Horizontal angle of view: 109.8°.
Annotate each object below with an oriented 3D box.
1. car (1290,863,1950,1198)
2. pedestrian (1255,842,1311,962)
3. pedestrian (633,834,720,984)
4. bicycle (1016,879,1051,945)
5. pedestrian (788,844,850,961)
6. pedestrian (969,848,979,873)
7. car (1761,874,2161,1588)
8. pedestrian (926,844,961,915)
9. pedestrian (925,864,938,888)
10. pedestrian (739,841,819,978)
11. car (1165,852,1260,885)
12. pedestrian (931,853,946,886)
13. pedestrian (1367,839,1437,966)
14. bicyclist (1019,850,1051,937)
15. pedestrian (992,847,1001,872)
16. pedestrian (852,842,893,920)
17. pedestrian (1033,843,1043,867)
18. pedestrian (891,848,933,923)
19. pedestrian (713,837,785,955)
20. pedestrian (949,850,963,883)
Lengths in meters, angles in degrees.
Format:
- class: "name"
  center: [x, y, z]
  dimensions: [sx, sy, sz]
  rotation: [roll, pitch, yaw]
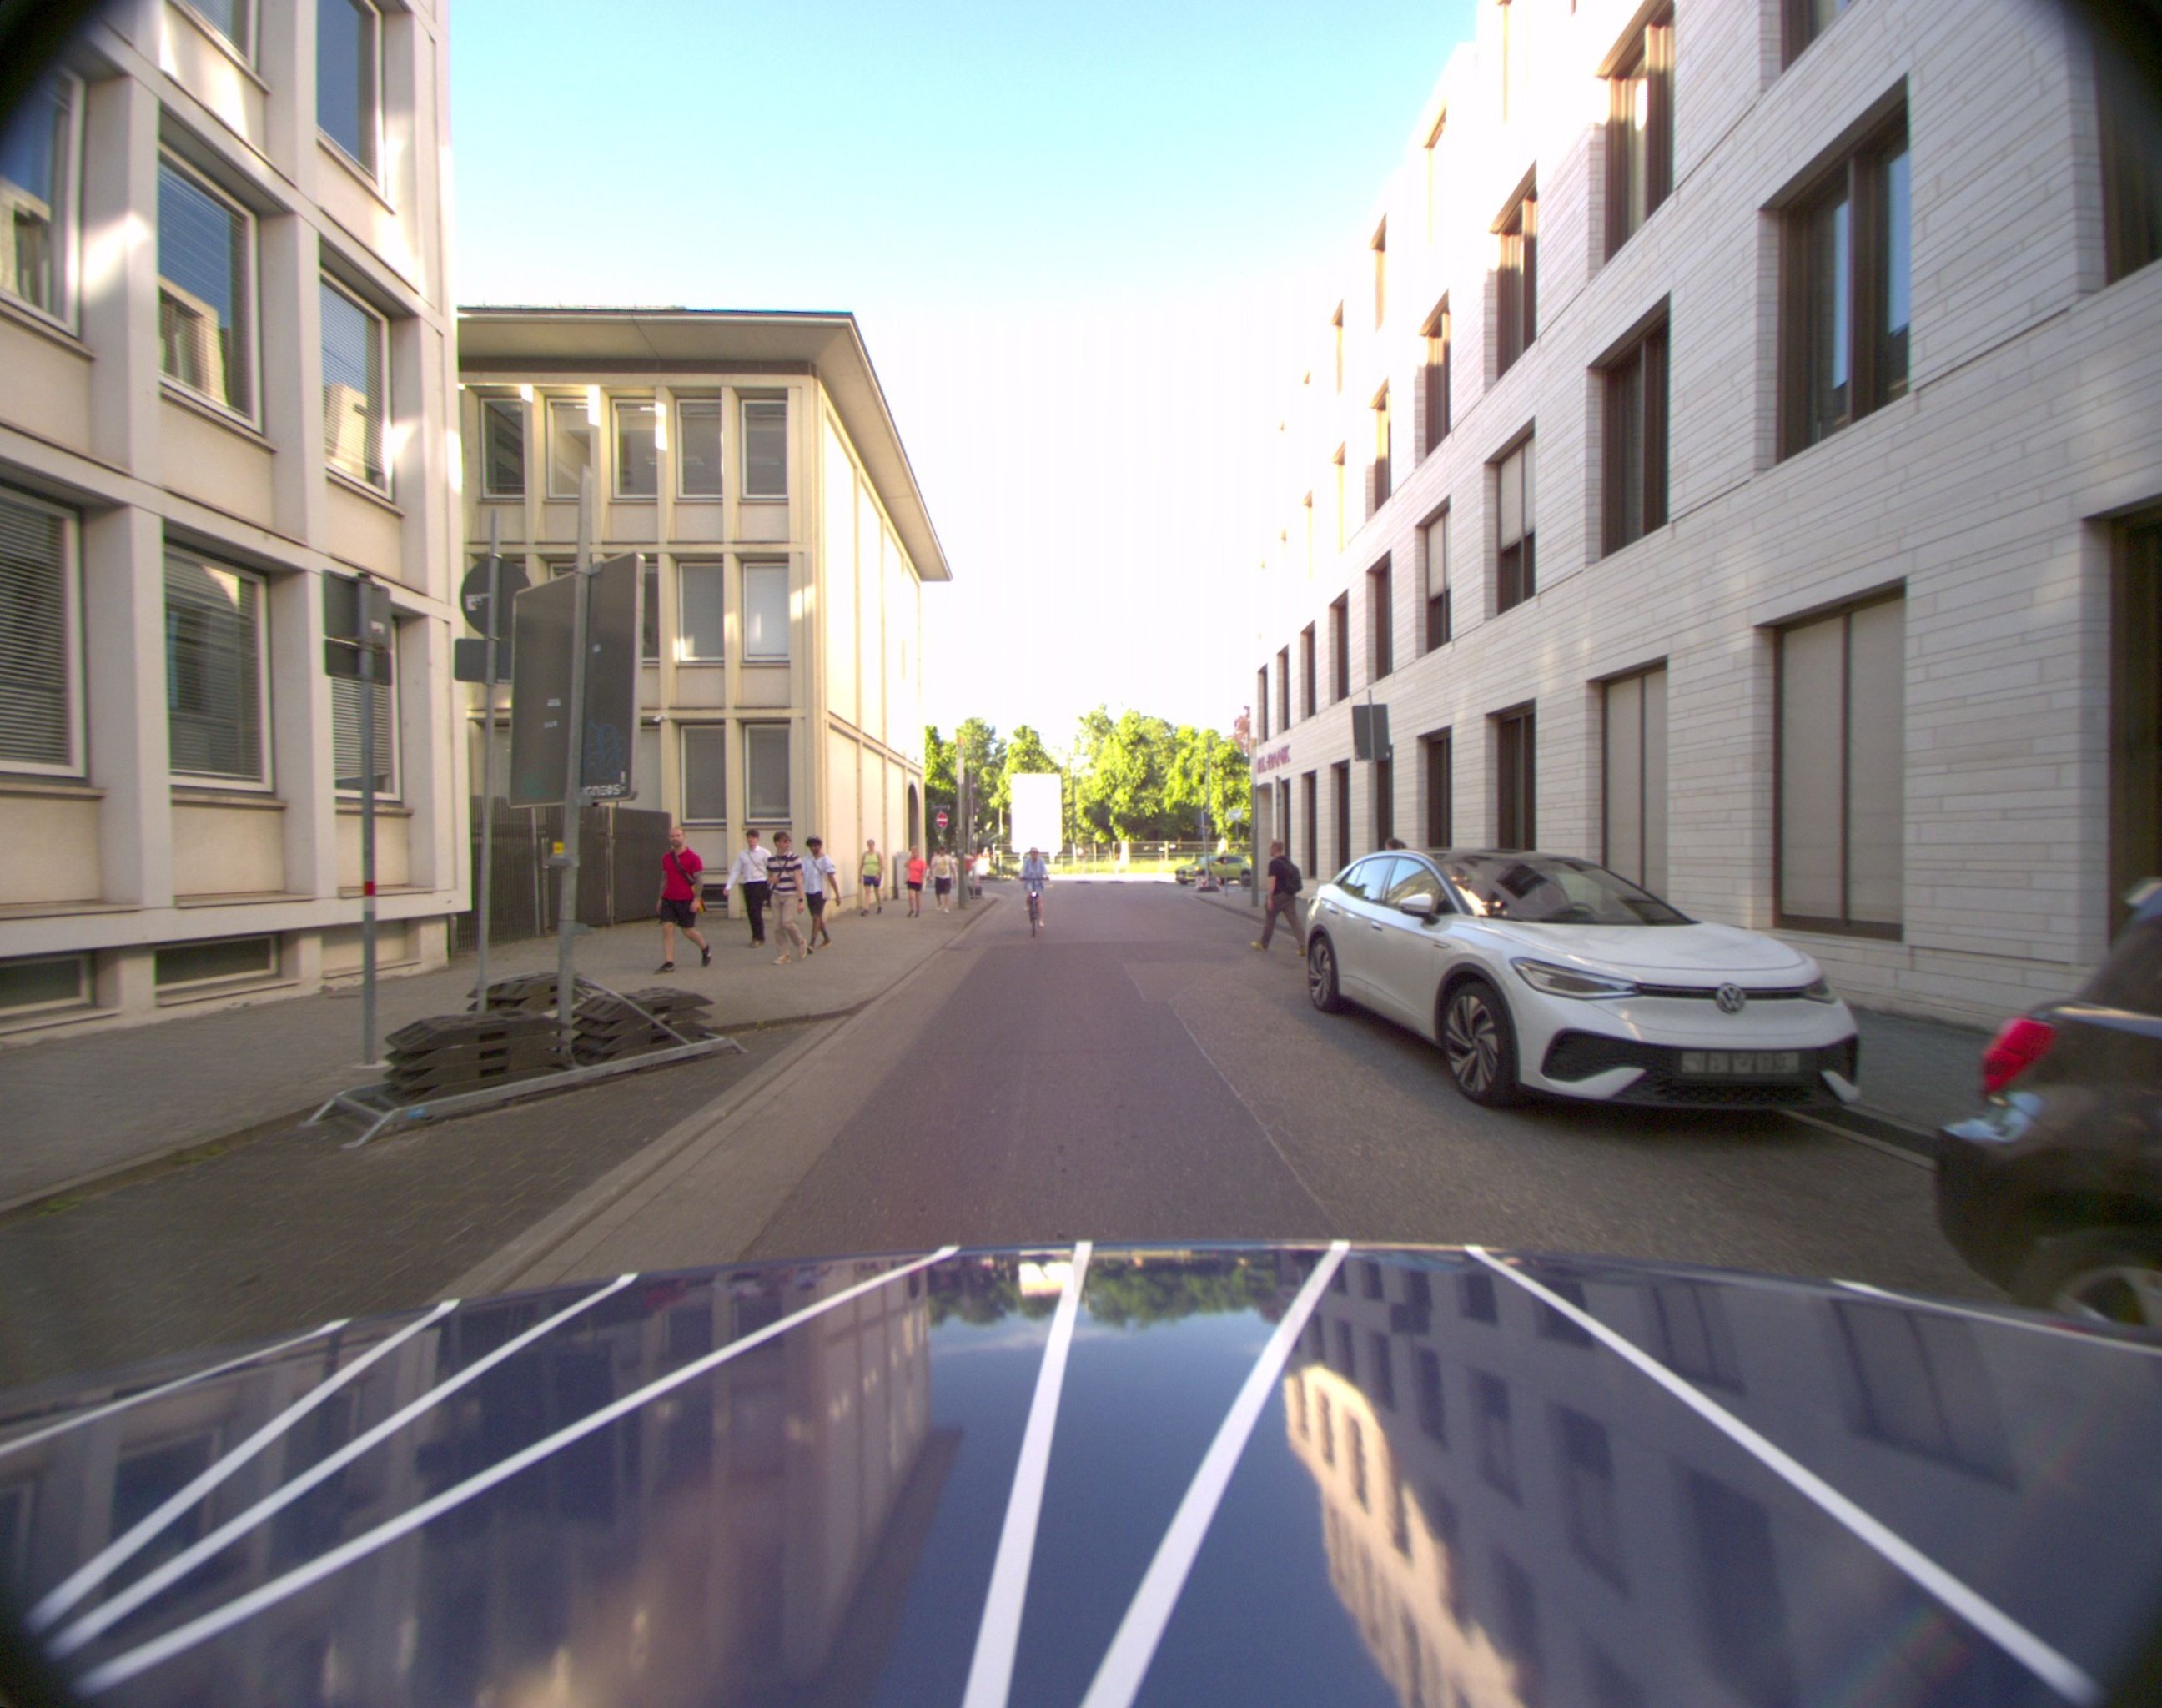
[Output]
- class: "car"
  center: [3.182, 0.870, 5.837]
  dimensions: [1.827, 1.532, 4.445]
  rotation: [1, 0, -1]
- class: "pedestrian"
  center: [3.101, 0.721, 11.715]
  dimensions: [0.643, 1.780, 0.575]
  rotation: [2, 2, -1]
- class: "pedestrian"
  center: [-4.992, 0.663, 9.400]
  dimensions: [0.685, 1.768, 0.593]
  rotation: [3, 1, 0]
- class: "bicycle"
  center: [-0.922, 1.111, 15.137]
  dimensions: [0.595, 1.077, 2.309]
  rotation: [-1, 1, -2]
- class: "pedestrian"
  center: [-4.079, 0.733, 11.858]
  dimensions: [0.685, 1.768, 0.693]
  rotation: [1, 1, 0]
- class: "pedestrian"
  center: [-7.695, 0.498, 54.796]
  dimensions: [0.626, 1.773, 0.622]
  rotation: [-2, 2, -7]
- class: "car"
  center: [3.340, 0.848, 0.529]
  dimensions: [1.827, 1.532, 4.262]
  rotation: [-1, 0, -2]
- class: "pedestrian"
  center: [-3.384, 0.621, 18.730]
  dimensions: [0.685, 1.706, 0.693]
  rotation: [2, 1, 0]
- class: "pedestrian"
  center: [-7.510, 1.121, 38.246]
  dimensions: [0.535, 1.170, 0.622]
  rotation: [-2, 2, -7]
- class: "pedestrian"
  center: [-4.128, 0.733, 10.441]
  dimensions: [0.685, 1.768, 0.693]
  rotation: [5, 1, 0]
- class: "car"
  center: [6.667, 0.690, 38.412]
  dimensions: [4.442, 1.451, 1.995]
  rotation: [-2, 2, -28]
- class: "pedestrian"
  center: [-7.057, 0.759, 37.554]
  dimensions: [0.626, 1.633, 0.622]
  rotation: [-2, 2, -7]
- class: "pedestrian"
  center: [4.670, 0.674, 11.100]
  dimensions: [0.645, 1.780, 0.816]
  rotation: [-1, 2, -1]
- class: "bicyclist"
  center: [-0.916, 0.771, 15.138]
  dimensions: [0.586, 1.679, 0.538]
  rotation: [-1, 2, -3]
- class: "pedestrian"
  center: [-6.078, 0.372, 54.750]
  dimensions: [0.626, 1.773, 0.622]
  rotation: [-2, 2, -7]
- class: "pedestrian"
  center: [-4.747, 0.598, 17.297]
  dimensions: [0.685, 1.706, 0.693]
  rotation: [2, 1, 0]
- class: "pedestrian"
  center: [-3.226, 0.082, 57.001]
  dimensions: [0.623, 1.773, 0.626]
  rotation: [-2, 2, -7]
- class: "pedestrian"
  center: [-3.845, 0.702, 17.315]
  dimensions: [0.685, 1.627, 0.693]
  rotation: [4, 1, 0]
- class: "pedestrian"
  center: [-5.236, 0.643, 12.023]
  dimensions: [0.685, 1.768, 0.693]
  rotation: [5, 1, 0]
- class: "pedestrian"
  center: [-6.343, 0.630, 38.513]
  dimensions: [0.626, 1.605, 0.622]
  rotation: [-2, 2, -7]
